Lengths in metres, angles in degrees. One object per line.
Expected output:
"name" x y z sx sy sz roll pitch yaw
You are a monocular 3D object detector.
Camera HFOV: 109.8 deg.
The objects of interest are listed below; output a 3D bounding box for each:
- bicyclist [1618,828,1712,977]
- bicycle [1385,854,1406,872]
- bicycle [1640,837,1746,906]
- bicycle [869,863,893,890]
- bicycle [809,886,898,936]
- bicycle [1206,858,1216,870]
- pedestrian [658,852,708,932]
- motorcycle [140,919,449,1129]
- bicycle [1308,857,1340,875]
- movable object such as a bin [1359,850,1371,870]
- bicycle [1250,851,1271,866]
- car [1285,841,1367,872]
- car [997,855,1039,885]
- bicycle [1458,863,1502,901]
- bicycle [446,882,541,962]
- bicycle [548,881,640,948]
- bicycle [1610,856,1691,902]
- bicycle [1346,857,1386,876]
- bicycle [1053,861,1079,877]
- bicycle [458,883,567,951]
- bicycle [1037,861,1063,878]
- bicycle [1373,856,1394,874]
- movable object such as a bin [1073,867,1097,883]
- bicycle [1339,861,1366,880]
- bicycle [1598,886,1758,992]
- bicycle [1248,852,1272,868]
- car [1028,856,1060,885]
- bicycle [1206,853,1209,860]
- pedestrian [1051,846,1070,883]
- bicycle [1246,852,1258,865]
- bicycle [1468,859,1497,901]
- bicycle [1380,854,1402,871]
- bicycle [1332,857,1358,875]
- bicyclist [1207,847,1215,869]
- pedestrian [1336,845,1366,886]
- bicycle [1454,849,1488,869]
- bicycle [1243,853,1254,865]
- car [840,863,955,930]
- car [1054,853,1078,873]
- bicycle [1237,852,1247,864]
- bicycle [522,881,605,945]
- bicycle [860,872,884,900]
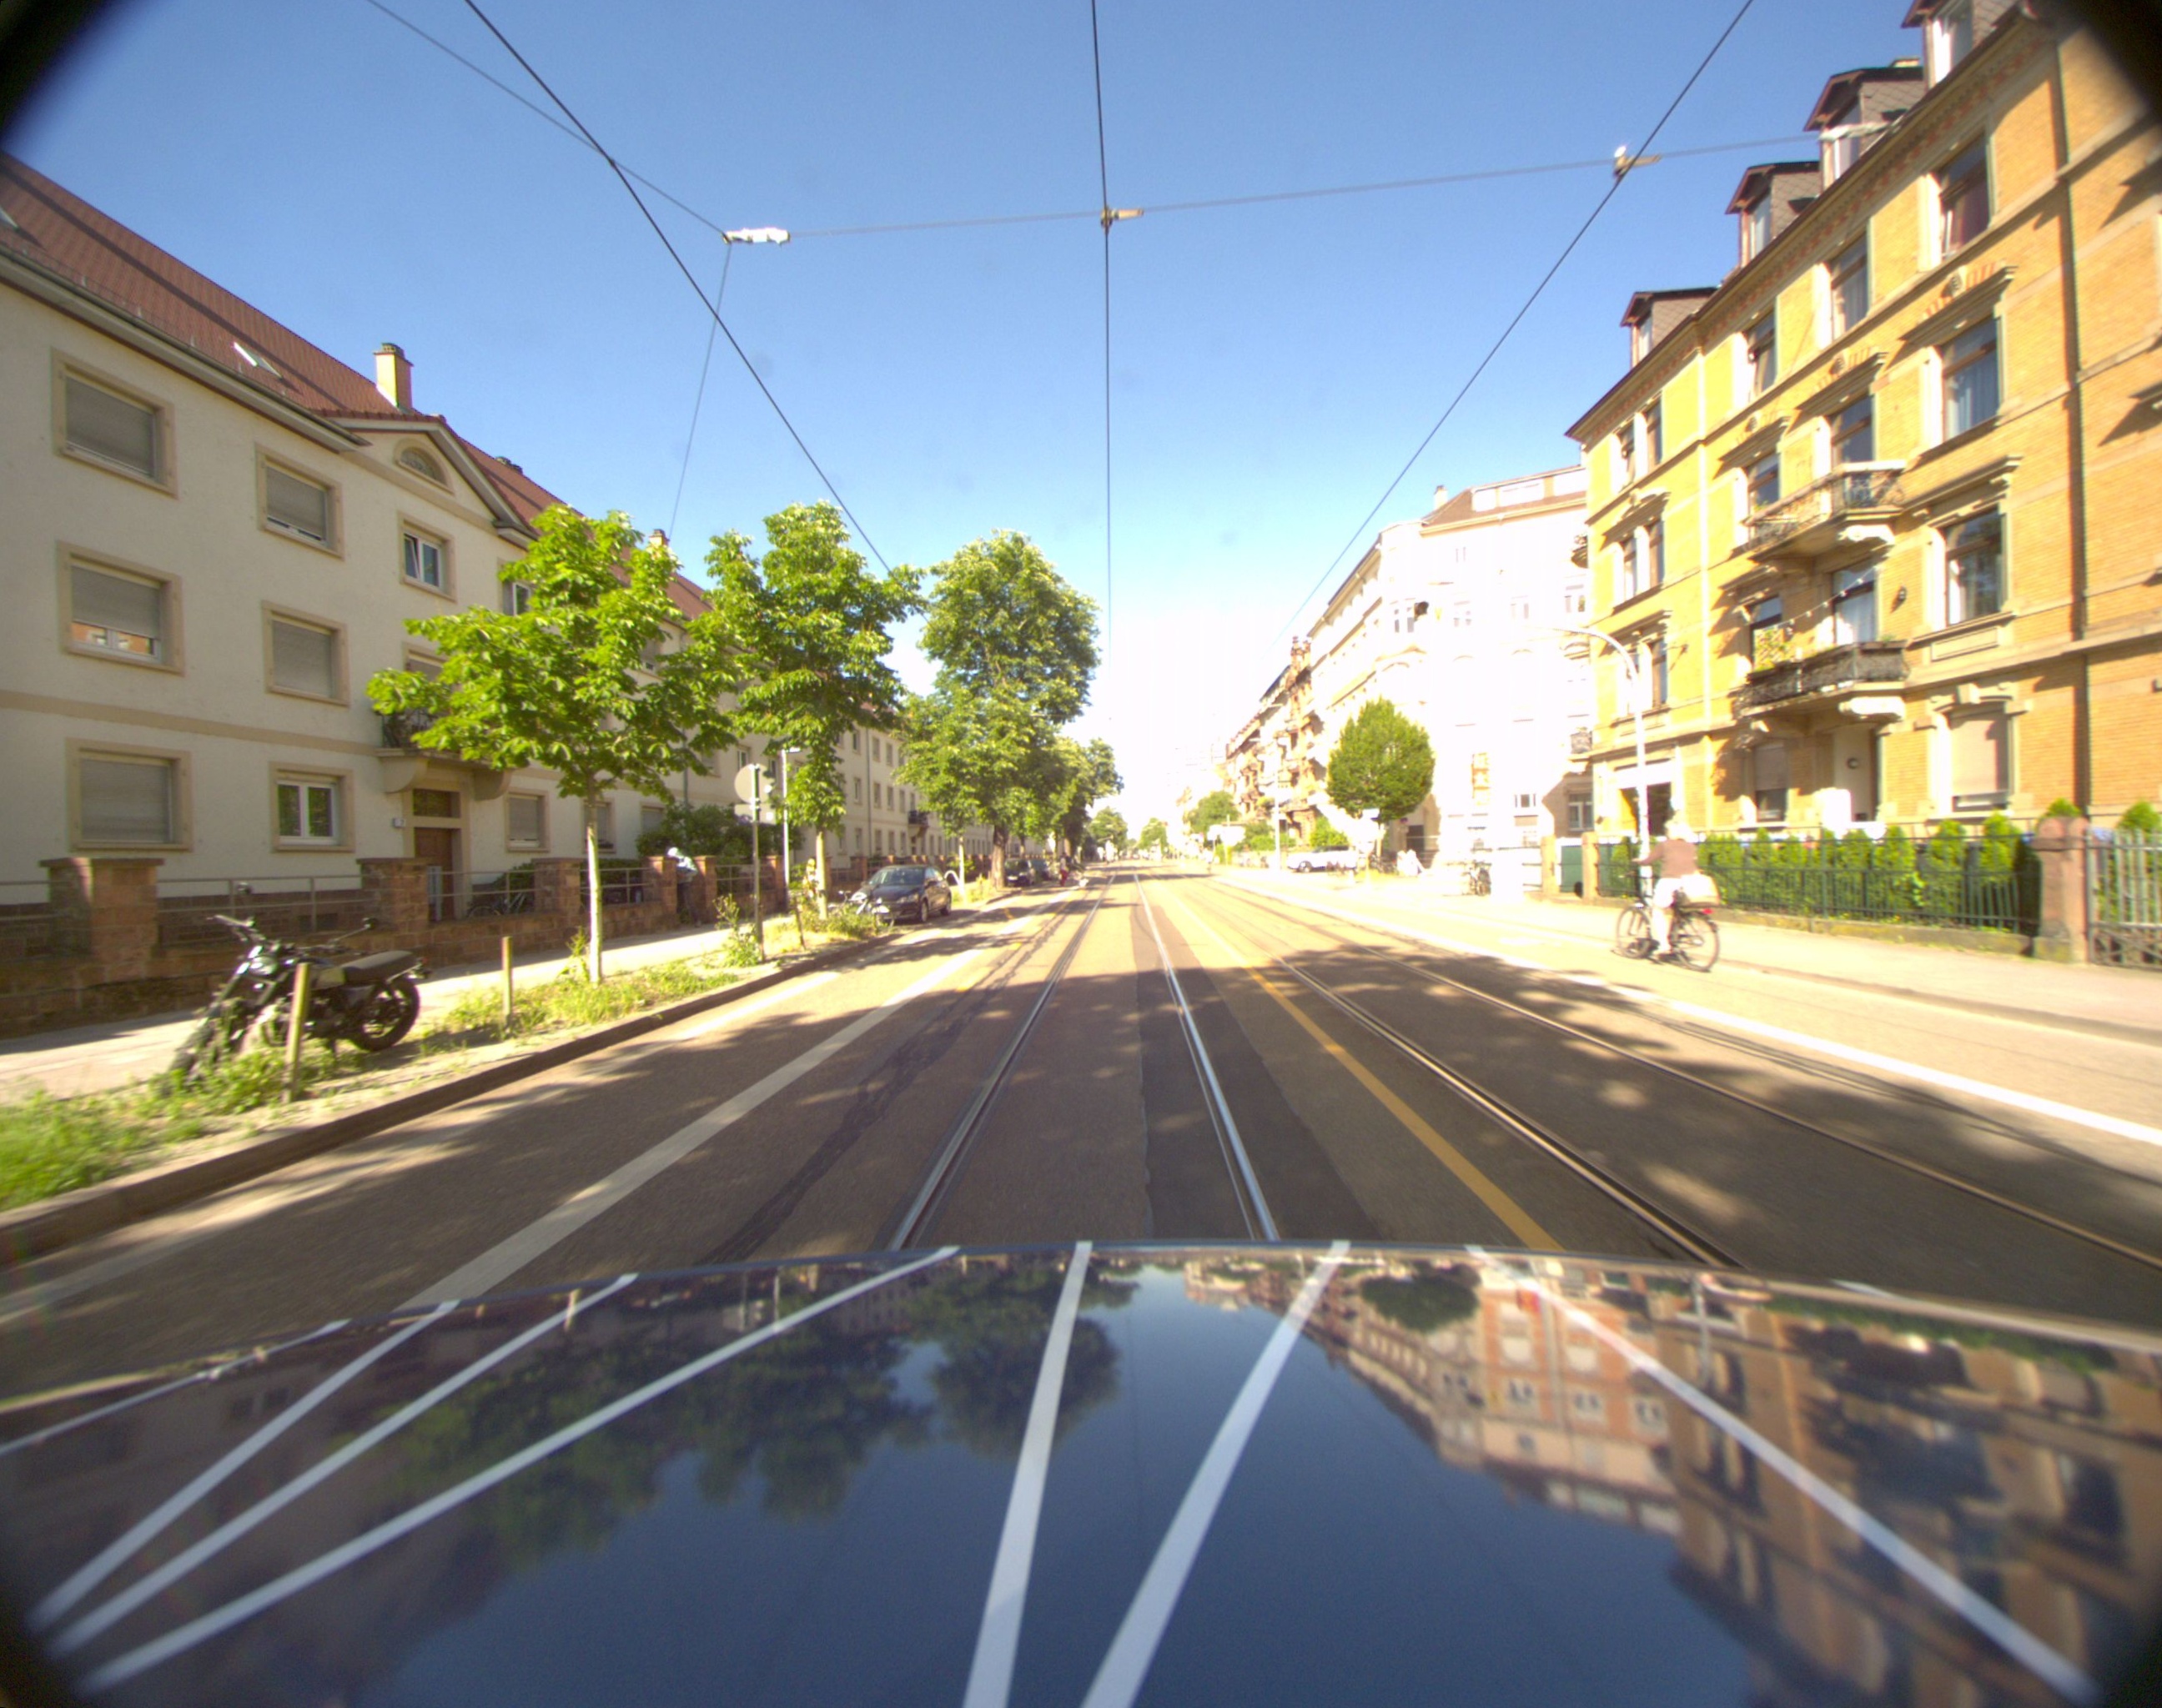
"bicyclist" 7.235 0.584 9.443 0.662 1.791 0.616 0 1 4
"bicycle" 17.479 0.517 42.216 1.545 0.909 0.246 -3 3 -32
"bicycle" 12.816 0.356 15.924 1.767 1.313 0.613 -3 1 -6
"bicycle" -9.246 1.030 35.224 0.544 1.213 1.742 -1 0 3
"bicycle" -5.055 1.266 16.951 1.797 1.061 0.621 0 1 -1
"bicycle" 9.669 0.736 56.545 0.461 0.920 2.203 0 0 4
"pedestrian" -8.820 0.837 16.852 0.763 1.714 0.581 -3 1 33
"motorcycle" -5.803 1.172 5.792 0.496 1.184 1.861 2 0 -4
"bicycle" 13.512 0.675 42.225 1.791 0.909 0.619 -3 2 -32
"movable object such as a bin" 16.012 0.337 42.855 0.577 1.064 0.717 -3 1 17
"bicycle" 13.603 0.343 57.720 0.565 1.027 1.765 -6 0 -21
"car" 15.088 0.157 47.056 4.455 1.634 1.967 -3 1 6
"car" -3.297 0.822 40.624 1.724 1.465 4.246 -1 0 2
"bicycle" 11.176 0.762 21.333 0.336 0.995 1.870 -3 0 4
"bicycle" -10.251 1.163 13.311 0.349 1.254 1.426 -3 0 8
"bicycle" -9.641 1.163 15.119 0.449 1.146 1.918 -2 0 4
"bicycle" 13.279 0.576 17.737 1.539 0.969 0.389 -3 1 2
"bicycle" 15.053 0.642 40.184 0.581 0.970 1.983 -4 1 -31
"bicycle" -1.050 1.063 53.739 1.765 1.071 0.433 -3 1 5
"bicycle" -11.177 1.200 15.020 0.545 1.146 1.918 -3 0 4
"bicycle" -2.227 1.123 54.403 1.765 1.071 0.433 -3 1 5
"bicycle" 16.431 0.587 41.226 0.619 0.909 1.297 0 3 42
"movable object such as a bin" 0.201 1.026 37.197 0.921 0.739 0.669 2 1 32
"bicycle" 13.927 0.833 38.918 1.296 0.909 0.619 -3 2 -32
"bicycle" 7.221 0.982 9.307 0.693 1.106 1.719 0 0 4
"bicycle" 13.218 0.442 56.097 0.566 1.027 1.764 -3 -1 -33
"car" -2.394 1.028 50.163 1.669 1.750 4.232 -2 0 3
"bicycle" 17.870 0.396 107.588 0.342 0.920 1.944 -3 0 8
"pedestrian" -1.006 0.512 37.484 0.602 1.760 0.911 1 1 -27
"bicycle" 13.860 0.341 61.679 0.564 1.027 1.768 -3 0 3
"bicycle" 11.301 0.718 21.386 0.371 1.119 0.809 -3 0 4
"bicycle" 17.337 0.464 42.461 1.545 0.909 0.246 -3 3 -32
"bicycle" 14.440 0.637 41.560 1.296 0.909 0.619 -3 2 -32
"bicyclist" 9.685 0.271 56.618 0.465 1.609 0.744 0 1 4
"pedestrian" 11.909 0.482 33.550 0.831 1.714 1.082 -3 2 -2
"bicycle" 21.833 0.292 42.546 1.600 1.031 0.407 -3 -1 28
"bicycle" 13.980 0.407 63.487 0.564 1.027 1.768 -3 0 3
"car" -4.645 1.024 19.874 1.791 1.455 4.045 -1 0 3
"car" -1.358 0.791 70.495 1.748 1.755 4.478 -3 0 3
"bicycle" 14.247 0.389 67.302 0.564 1.027 1.768 -3 -1 4
"bicycle" -10.326 1.152 15.224 0.442 1.146 1.575 -3 0 4
"bicycle" -9.801 1.477 35.733 0.544 1.213 1.742 -1 0 3
